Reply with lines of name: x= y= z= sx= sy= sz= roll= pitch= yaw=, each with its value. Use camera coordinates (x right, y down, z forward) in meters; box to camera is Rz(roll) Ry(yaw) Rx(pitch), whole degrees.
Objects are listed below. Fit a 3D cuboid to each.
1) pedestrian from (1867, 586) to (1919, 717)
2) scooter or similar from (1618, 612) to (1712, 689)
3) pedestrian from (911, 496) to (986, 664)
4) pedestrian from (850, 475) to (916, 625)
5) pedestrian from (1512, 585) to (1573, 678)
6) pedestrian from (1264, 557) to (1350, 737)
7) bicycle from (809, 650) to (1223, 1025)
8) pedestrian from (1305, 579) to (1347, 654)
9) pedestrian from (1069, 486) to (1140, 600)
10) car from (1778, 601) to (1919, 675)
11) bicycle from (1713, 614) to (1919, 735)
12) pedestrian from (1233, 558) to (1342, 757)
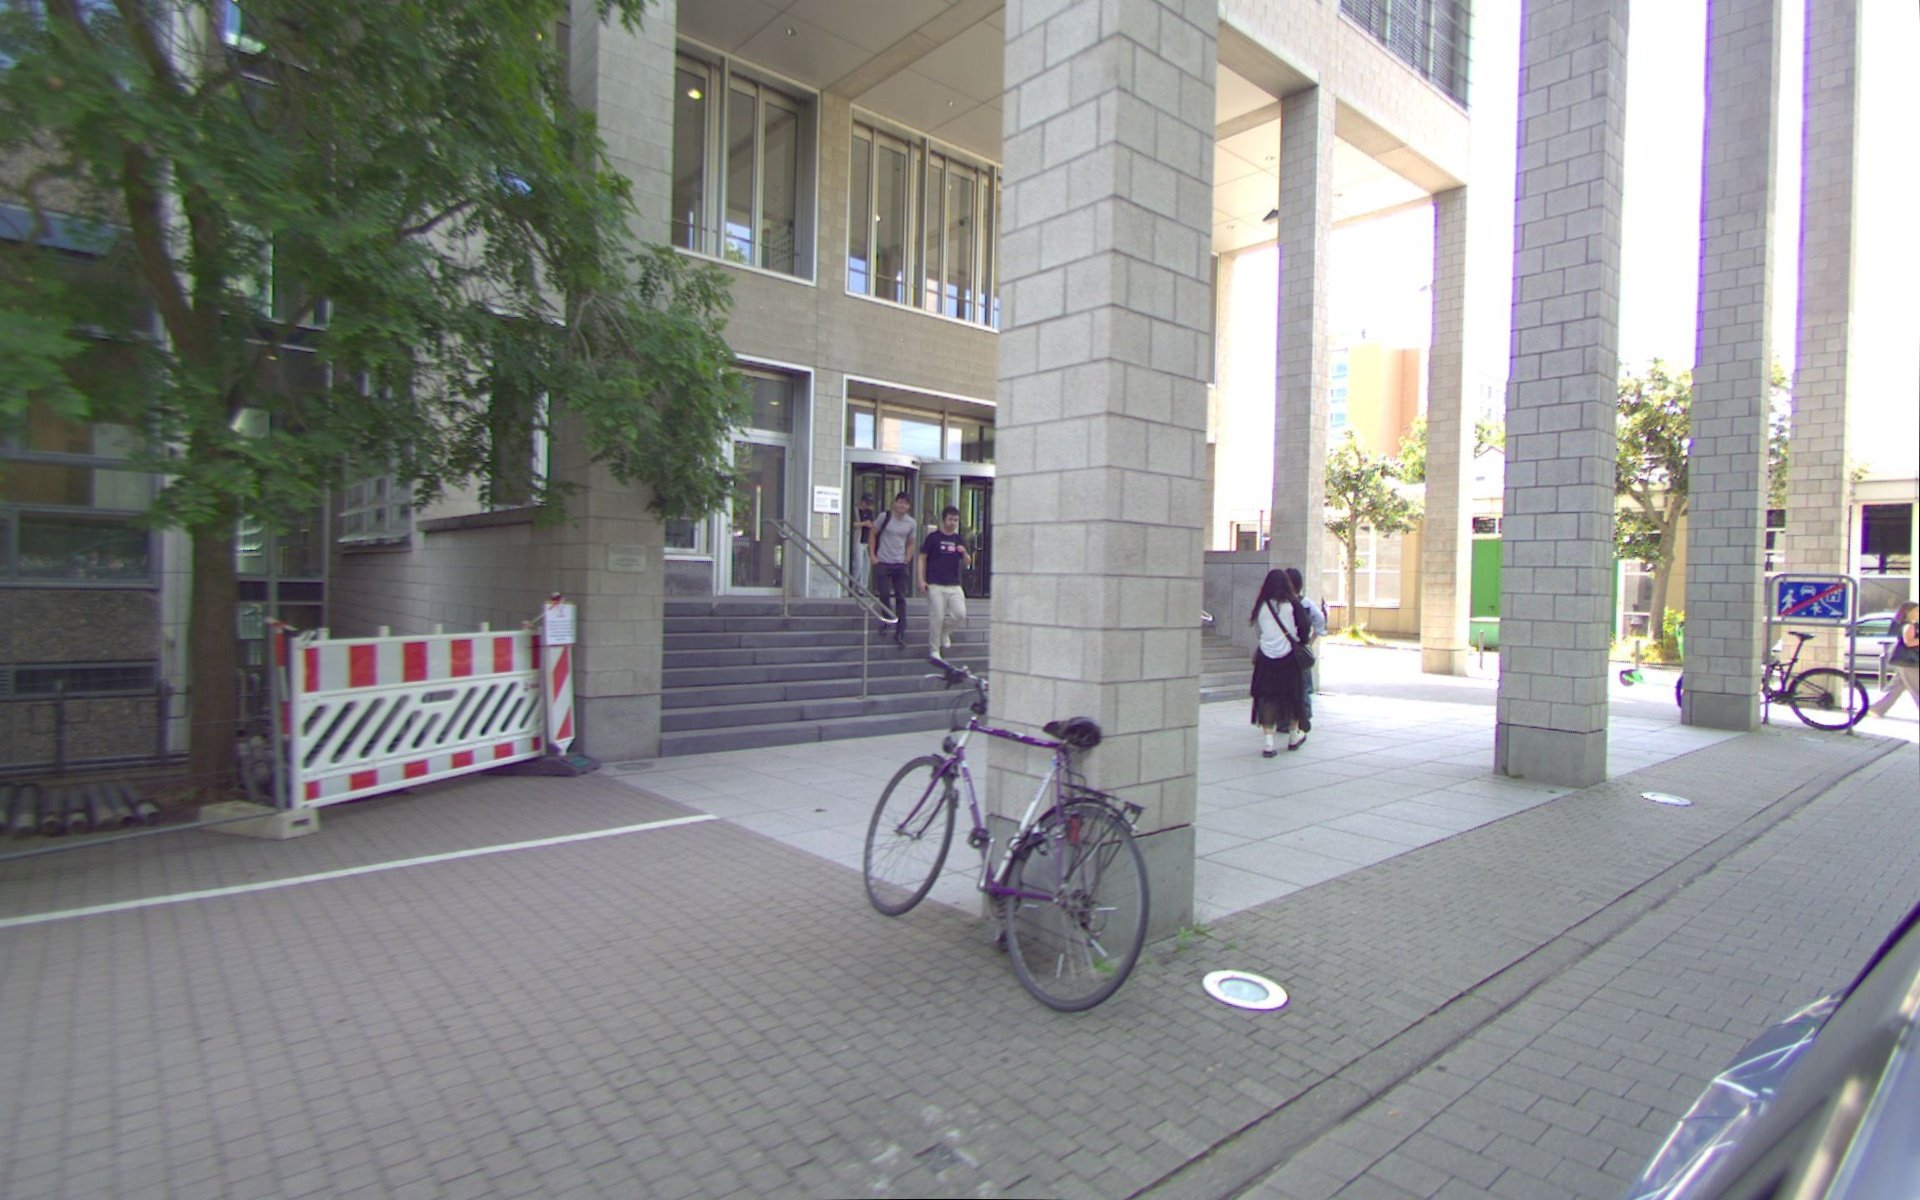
pedestrian: x=12.510 y=0.663 z=13.271 sx=0.880 sy=1.676 sz=0.692 roll=2 pitch=0 yaw=44
scooter or similar: x=11.528 y=0.807 z=16.576 sx=0.436 sy=1.166 sz=1.158 roll=1 pitch=0 yaw=-36
pedestrian: x=-0.148 y=-0.222 z=11.574 sx=0.688 sy=1.826 sz=0.884 roll=1 pitch=0 yaw=-9
pedestrian: x=-0.918 y=-0.571 z=11.915 sx=0.688 sy=1.676 sz=0.884 roll=1 pitch=0 yaw=-7
pedestrian: x=10.448 y=0.550 z=18.153 sx=0.816 sy=1.594 sz=0.869 roll=2 pitch=0 yaw=37
pedestrian: x=3.409 y=0.434 z=9.998 sx=0.664 sy=1.691 sz=0.896 roll=1 pitch=0 yaw=11
bicycle: x=0.126 y=0.786 z=3.960 sx=0.442 sy=1.052 sz=1.740 roll=2 pitch=0 yaw=-45
pedestrian: x=8.738 y=0.376 z=24.193 sx=0.767 sy=1.746 sz=0.857 roll=2 pitch=0 yaw=11
pedestrian: x=2.286 y=-0.889 z=16.028 sx=0.863 sy=1.746 sz=0.634 roll=2 pitch=0 yaw=43
car: x=21.079 y=0.843 z=22.899 sx=1.625 sy=1.494 sz=3.774 roll=-2 pitch=3 yaw=-40
bicycle: x=9.926 y=0.817 z=11.666 sx=0.595 sy=1.178 sz=1.882 roll=2 pitch=2 yaw=-45
pedestrian: x=2.841 y=0.470 z=8.863 sx=0.795 sy=1.637 sz=0.738 roll=1 pitch=1 yaw=13
